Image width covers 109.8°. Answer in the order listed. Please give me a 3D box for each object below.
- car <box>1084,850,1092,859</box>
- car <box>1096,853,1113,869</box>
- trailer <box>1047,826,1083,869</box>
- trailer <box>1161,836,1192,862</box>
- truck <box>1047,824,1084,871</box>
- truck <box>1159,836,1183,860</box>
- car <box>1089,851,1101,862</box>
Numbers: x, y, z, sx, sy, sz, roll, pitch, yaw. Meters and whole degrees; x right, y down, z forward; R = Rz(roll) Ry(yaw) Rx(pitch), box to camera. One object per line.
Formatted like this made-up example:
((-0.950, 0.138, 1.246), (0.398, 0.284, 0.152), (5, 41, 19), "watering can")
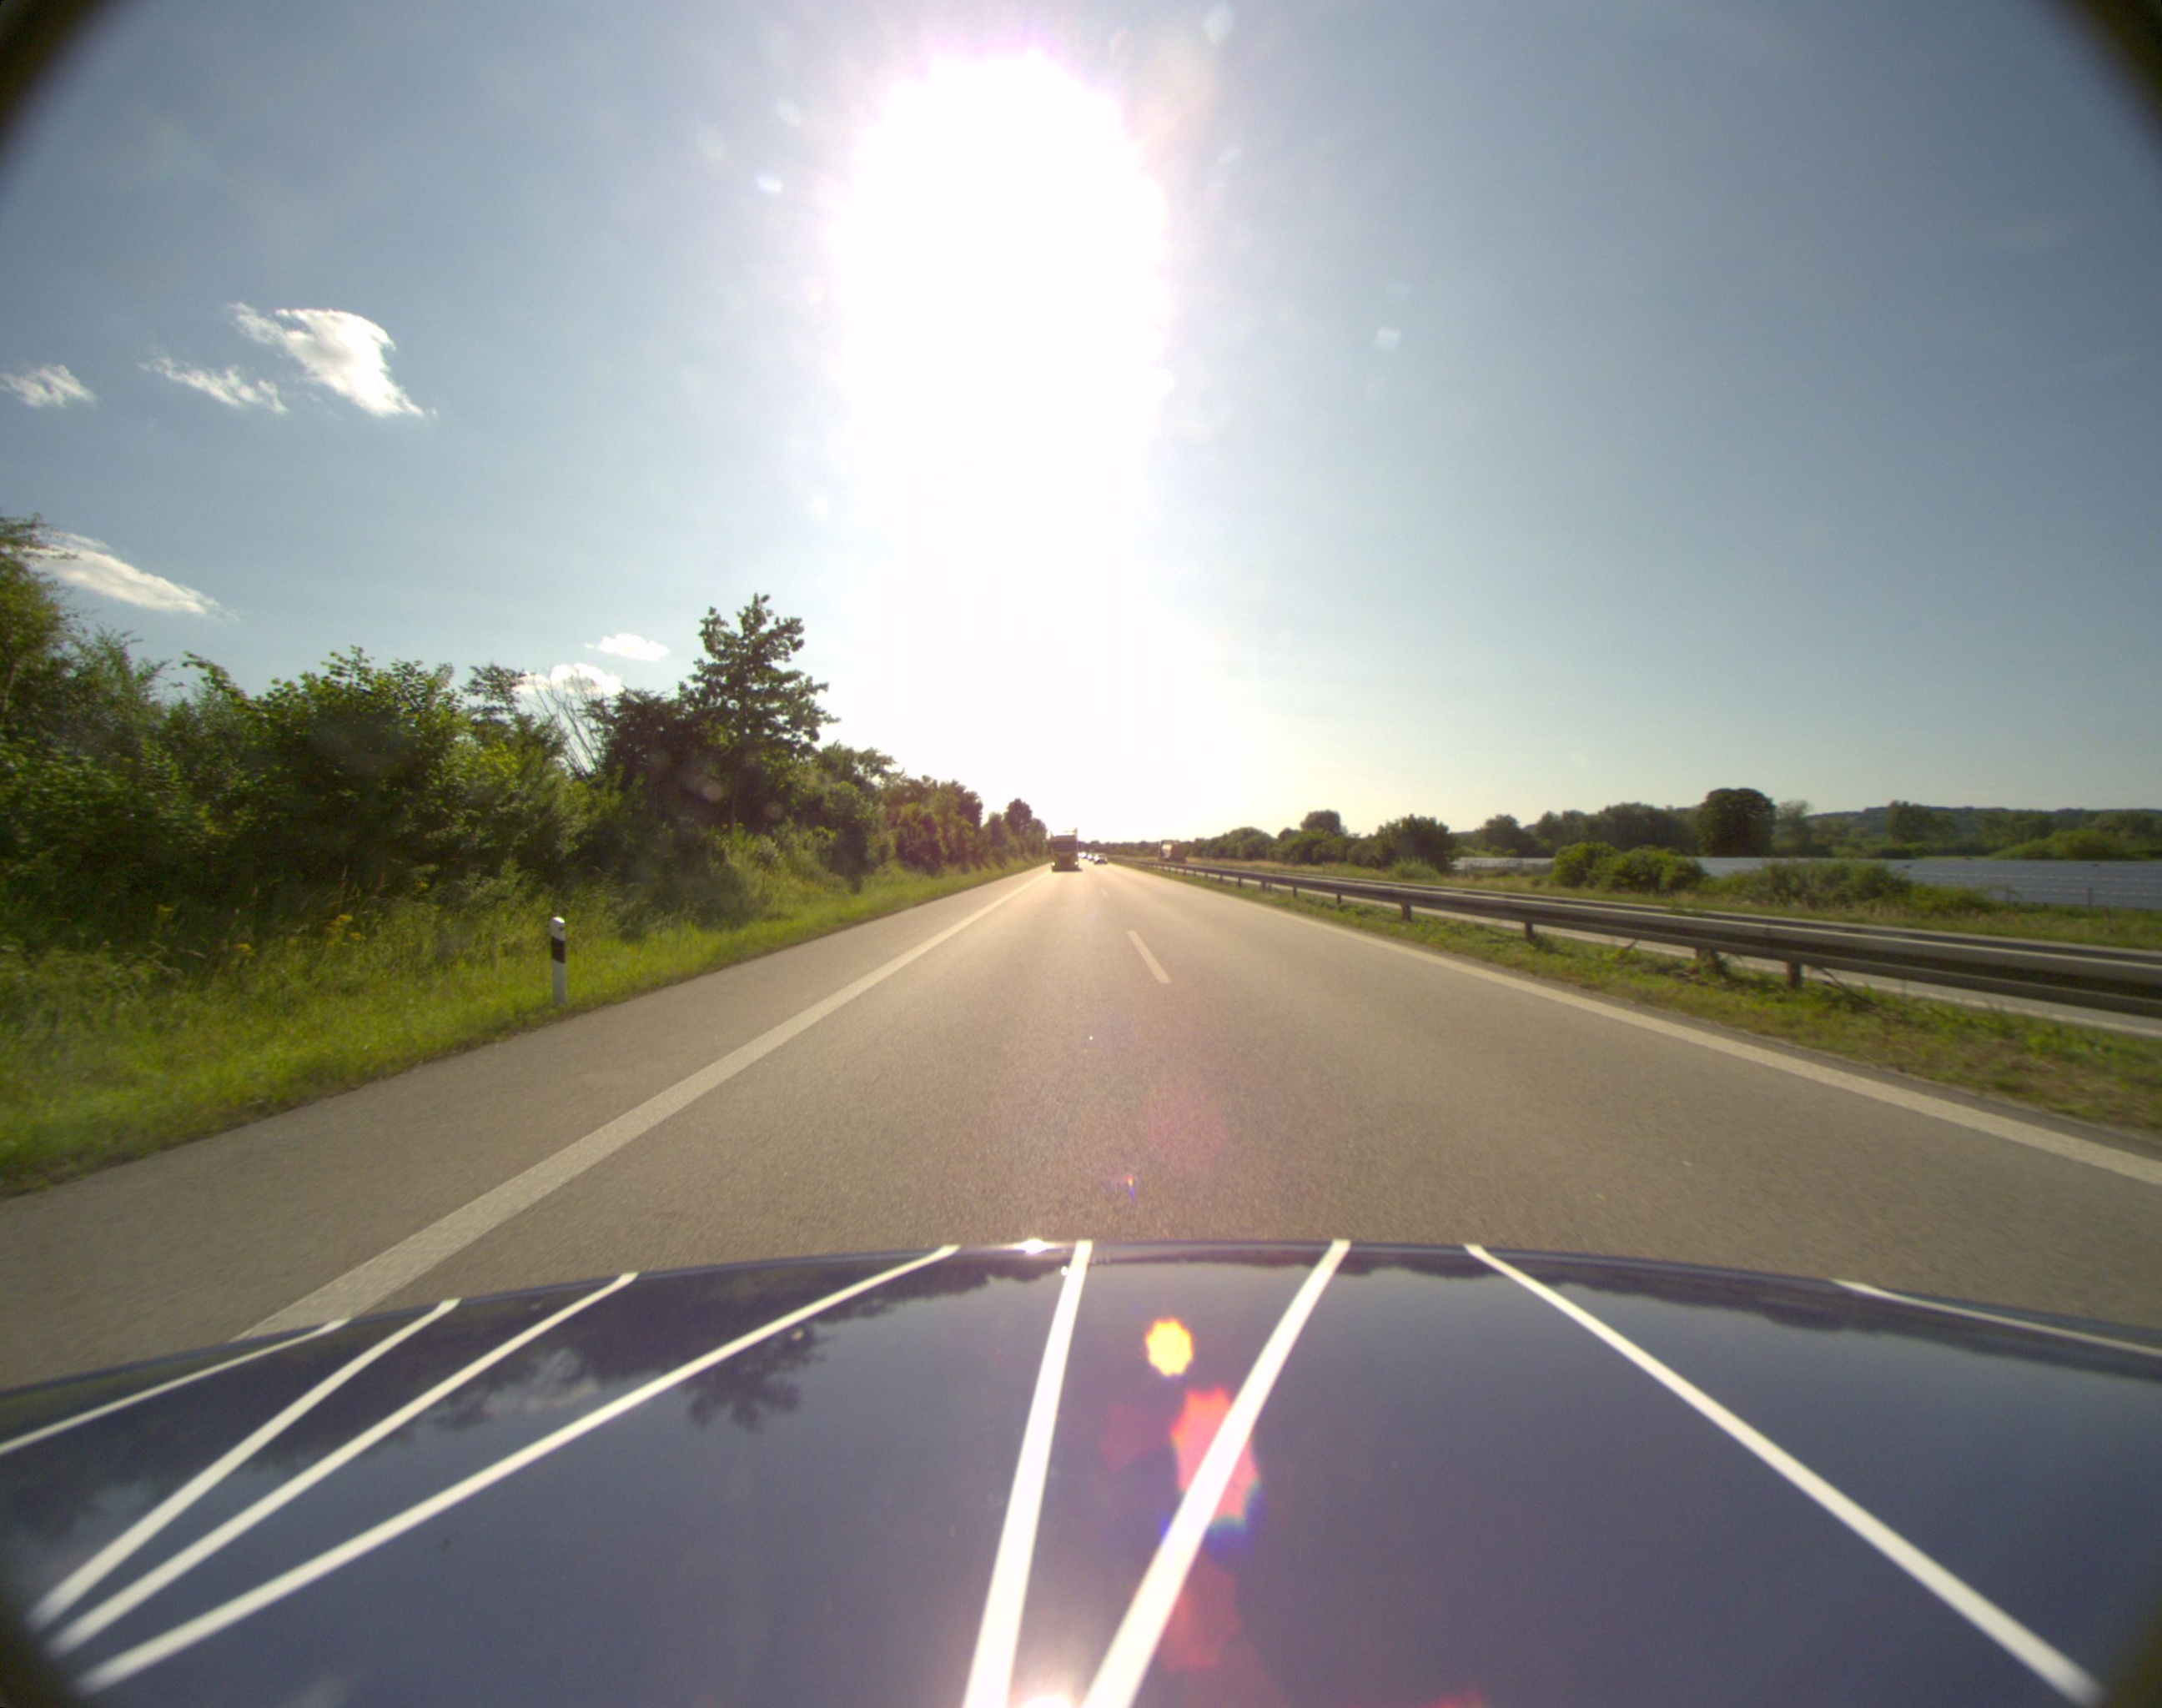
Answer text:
((1.719, 0.114, 188.806), (1.998, 2.002, 4.000), (-2, 1, 1), "car")
((3.136, 0.901, 100.905), (1.999, 2.002, 4.357), (-2, 1, -1), "car")
((-1.610, -0.689, 79.012), (3.193, 4.036, 13.183), (-2, 1, -1), "trailer")
((14.154, -0.809, 113.449), (2.988, 3.709, 12.417), (0, 1, 0), "trailer")
((-1.509, -0.608, 71.765), (3.177, 4.090, 6.386), (-2, 1, -2), "truck")
((14.102, -0.897, 119.575), (2.963, 3.710, 5.567), (0, 1, -1), "truck")
((2.638, 0.419, 142.512), (1.998, 2.002, 4.000), (-2, 1, 1), "car")
